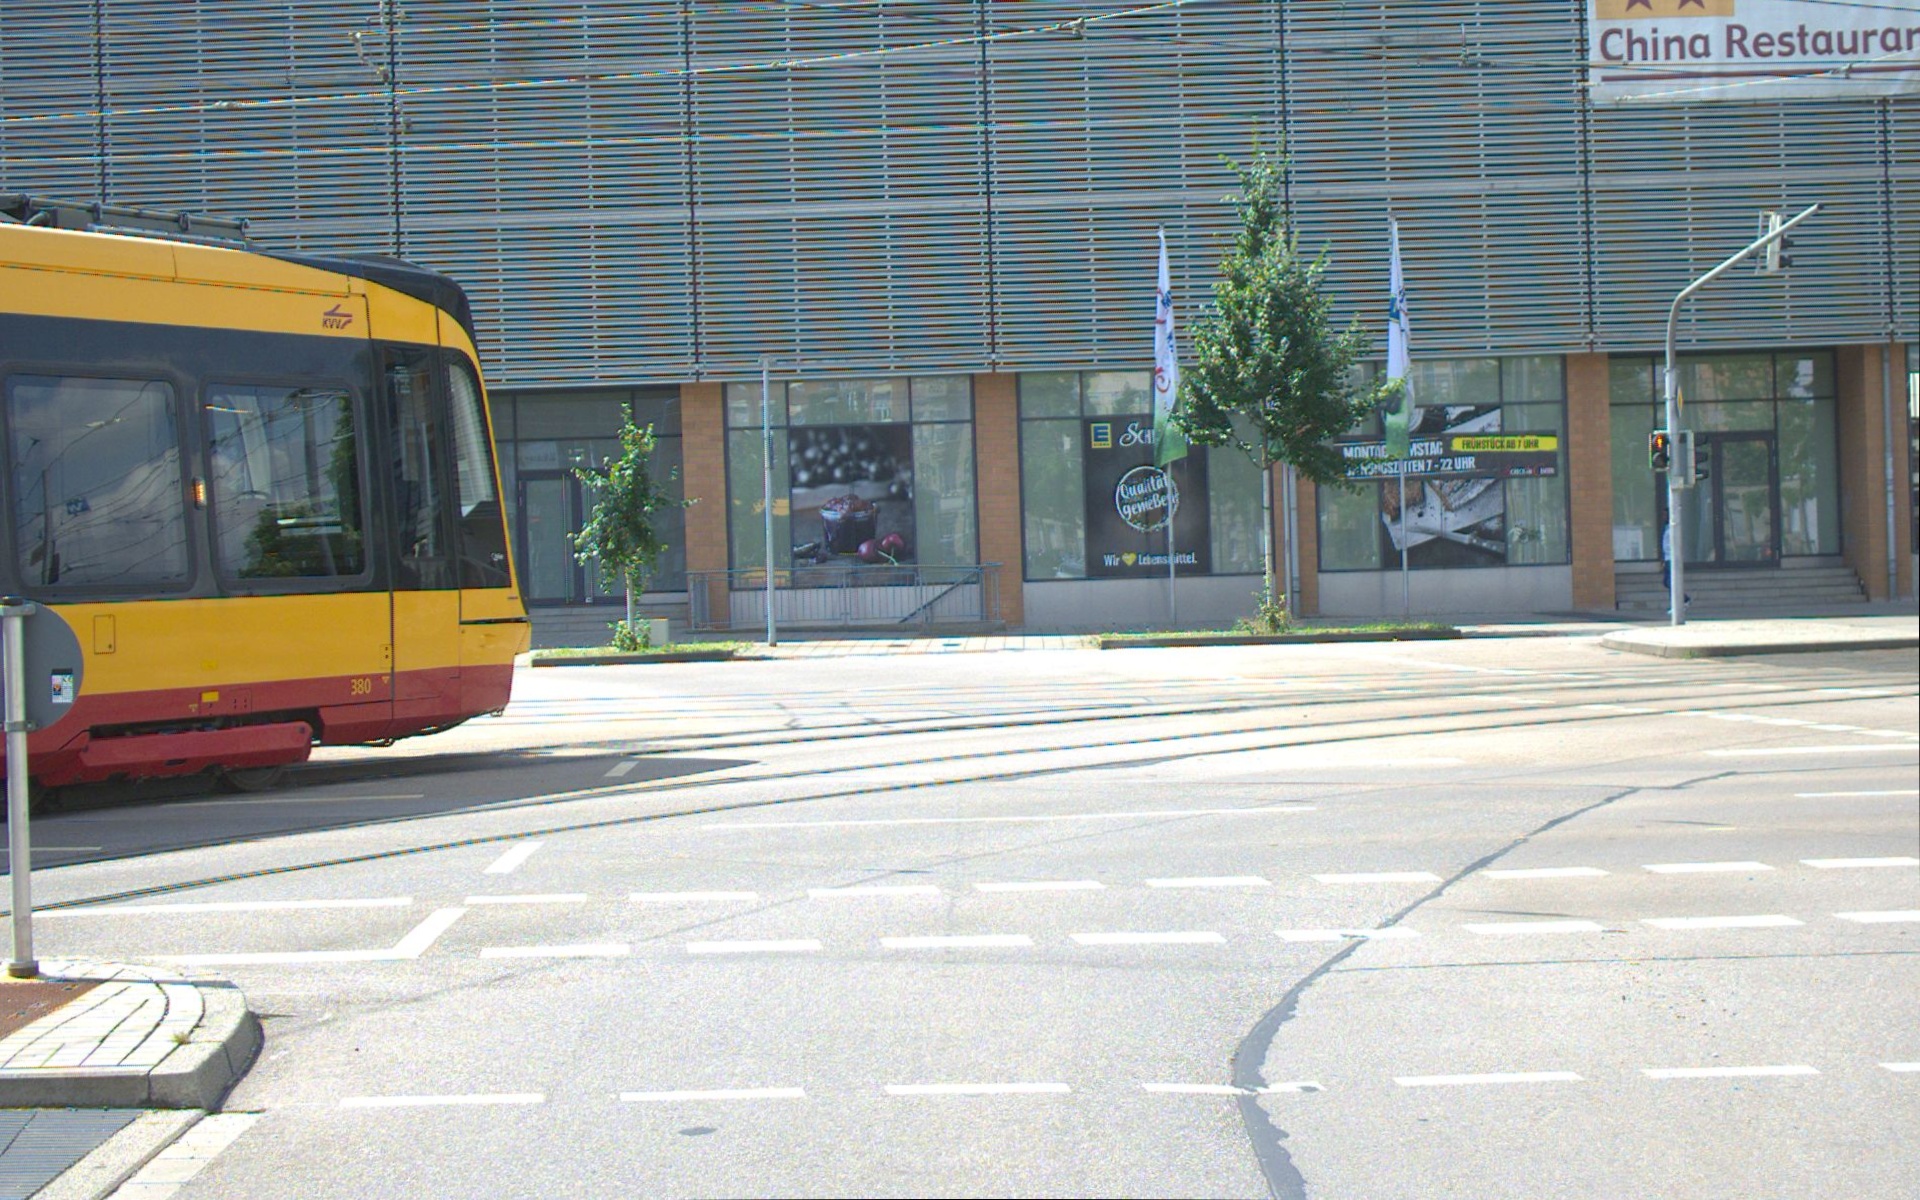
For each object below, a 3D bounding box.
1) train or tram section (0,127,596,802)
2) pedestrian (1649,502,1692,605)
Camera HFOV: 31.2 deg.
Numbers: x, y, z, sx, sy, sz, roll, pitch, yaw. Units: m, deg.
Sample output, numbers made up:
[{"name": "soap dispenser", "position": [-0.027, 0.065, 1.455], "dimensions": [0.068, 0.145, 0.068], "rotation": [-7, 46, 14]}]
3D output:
[{"name": "train or tram section", "position": [-6.789, -0.663, 18.471], "dimensions": [3.059, 3.608, 12.618], "rotation": [-2, 1, 27]}, {"name": "pedestrian", "position": [12.168, -0.797, 58.874], "dimensions": [0.618, 1.740, 0.629], "rotation": [0, 1, 1]}]
